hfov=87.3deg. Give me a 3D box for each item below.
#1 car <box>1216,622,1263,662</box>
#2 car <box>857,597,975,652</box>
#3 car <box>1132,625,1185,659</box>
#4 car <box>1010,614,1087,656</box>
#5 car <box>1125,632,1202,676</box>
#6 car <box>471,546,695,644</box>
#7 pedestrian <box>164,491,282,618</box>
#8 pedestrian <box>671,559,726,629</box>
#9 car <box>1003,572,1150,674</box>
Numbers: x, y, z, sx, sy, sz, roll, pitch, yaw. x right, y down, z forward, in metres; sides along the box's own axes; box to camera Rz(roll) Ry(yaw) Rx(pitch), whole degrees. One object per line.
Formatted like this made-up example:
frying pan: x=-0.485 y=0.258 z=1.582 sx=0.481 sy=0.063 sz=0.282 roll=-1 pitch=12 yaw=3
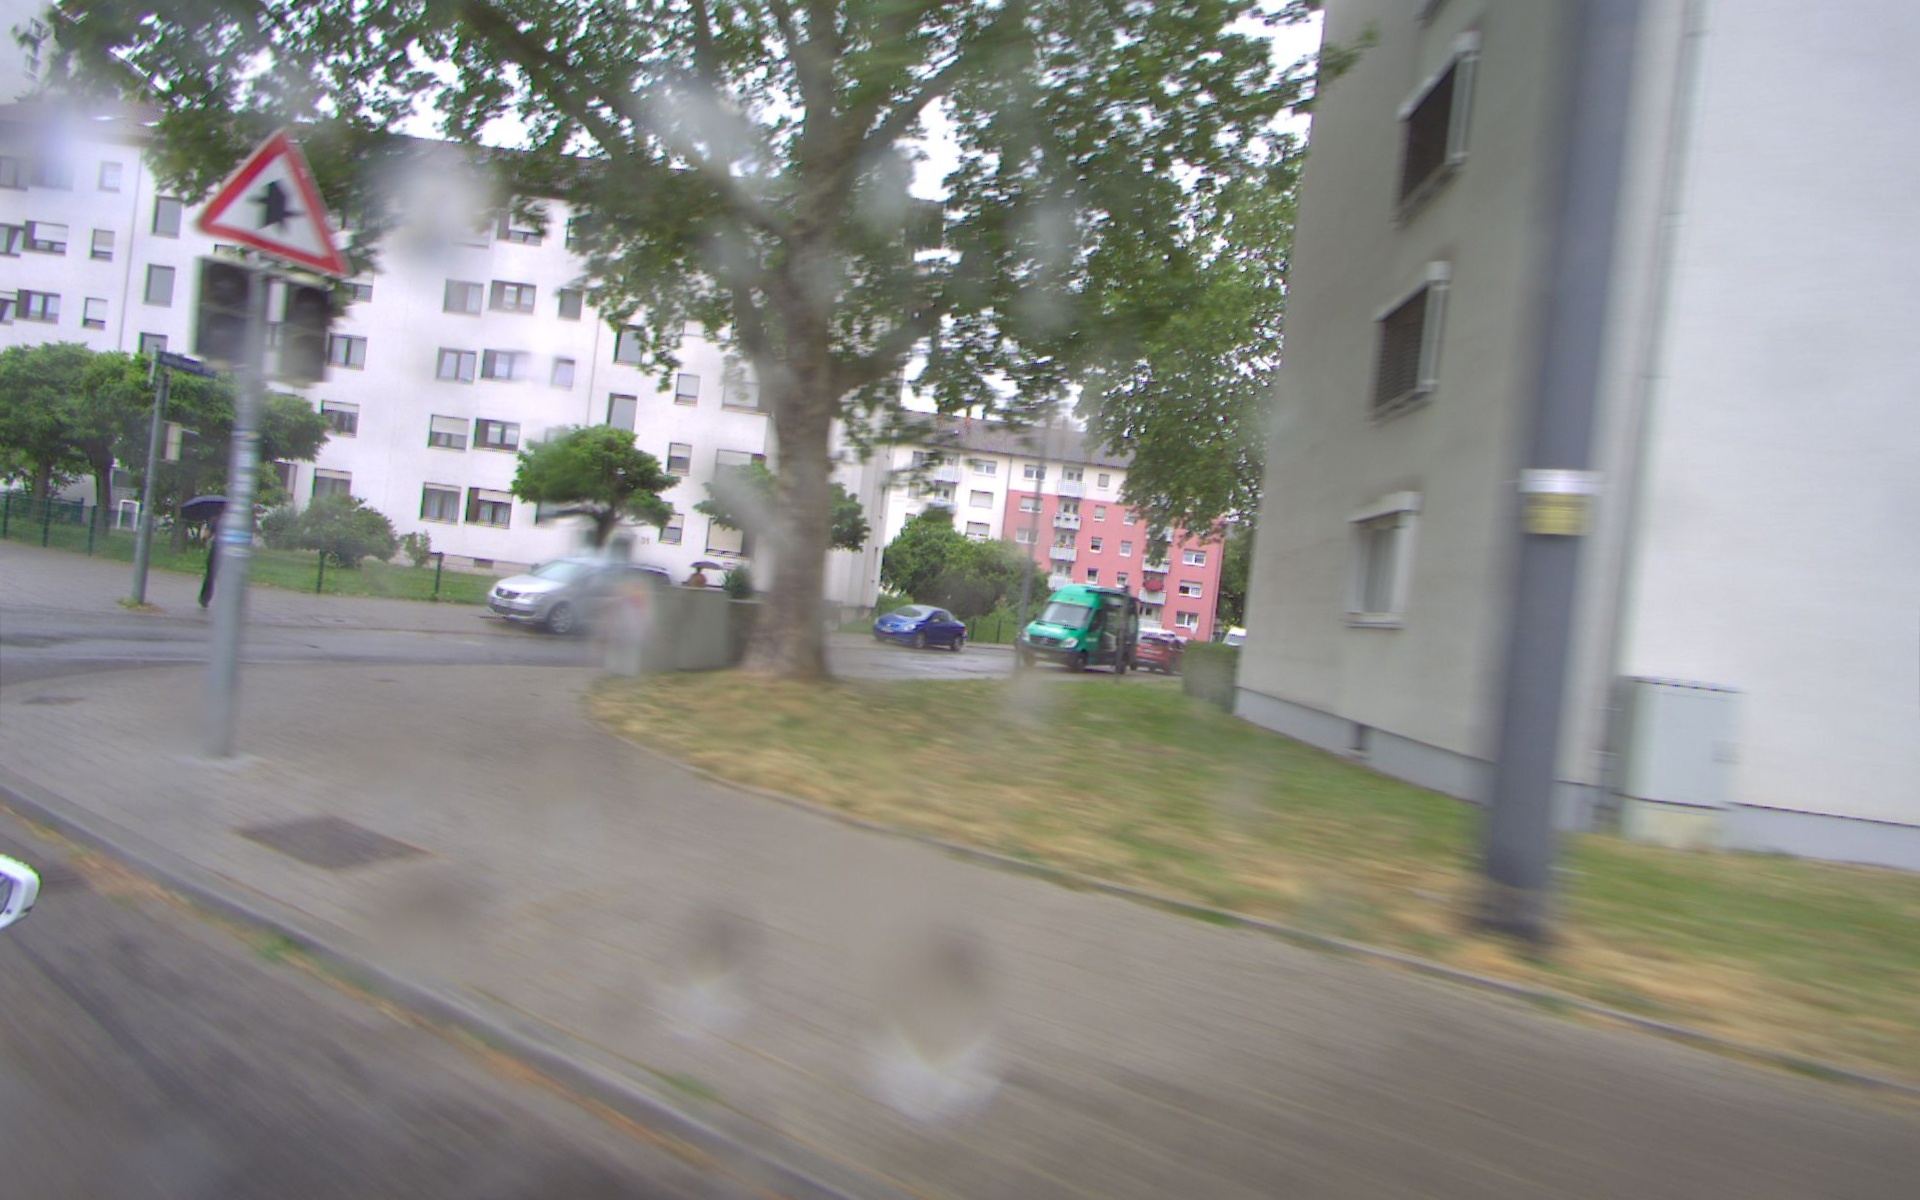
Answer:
car: x=21.017 y=3.195 z=75.511 sx=2.044 sy=2.614 sz=4.917 roll=7 pitch=0 yaw=30
car: x=-1.457 y=0.895 z=34.967 sx=1.905 sy=1.524 sz=4.297 roll=7 pitch=0 yaw=31
car: x=11.599 y=2.484 z=58.573 sx=1.656 sy=1.676 sz=4.300 roll=7 pitch=0 yaw=29
car: x=3.966 y=1.580 z=44.371 sx=1.656 sy=1.524 sz=4.300 roll=7 pitch=0 yaw=29
car: x=8.448 y=2.249 z=41.456 sx=1.711 sy=1.524 sz=3.996 roll=7 pitch=0 yaw=31
car: x=-8.189 y=-0.043 z=22.242 sx=1.840 sy=1.701 sz=4.297 roll=7 pitch=0 yaw=31
pedestrian: x=-11.836 y=-0.729 z=16.157 sx=1.413 sy=1.836 sz=1.098 roll=7 pitch=1 yaw=40
pedestrian: x=-7.225 y=-0.159 z=27.834 sx=0.708 sy=1.791 sz=1.180 roll=7 pitch=1 yaw=27
car: x=3.988 y=0.868 z=33.208 sx=2.151 sy=2.813 sz=6.126 roll=7 pitch=0 yaw=32
